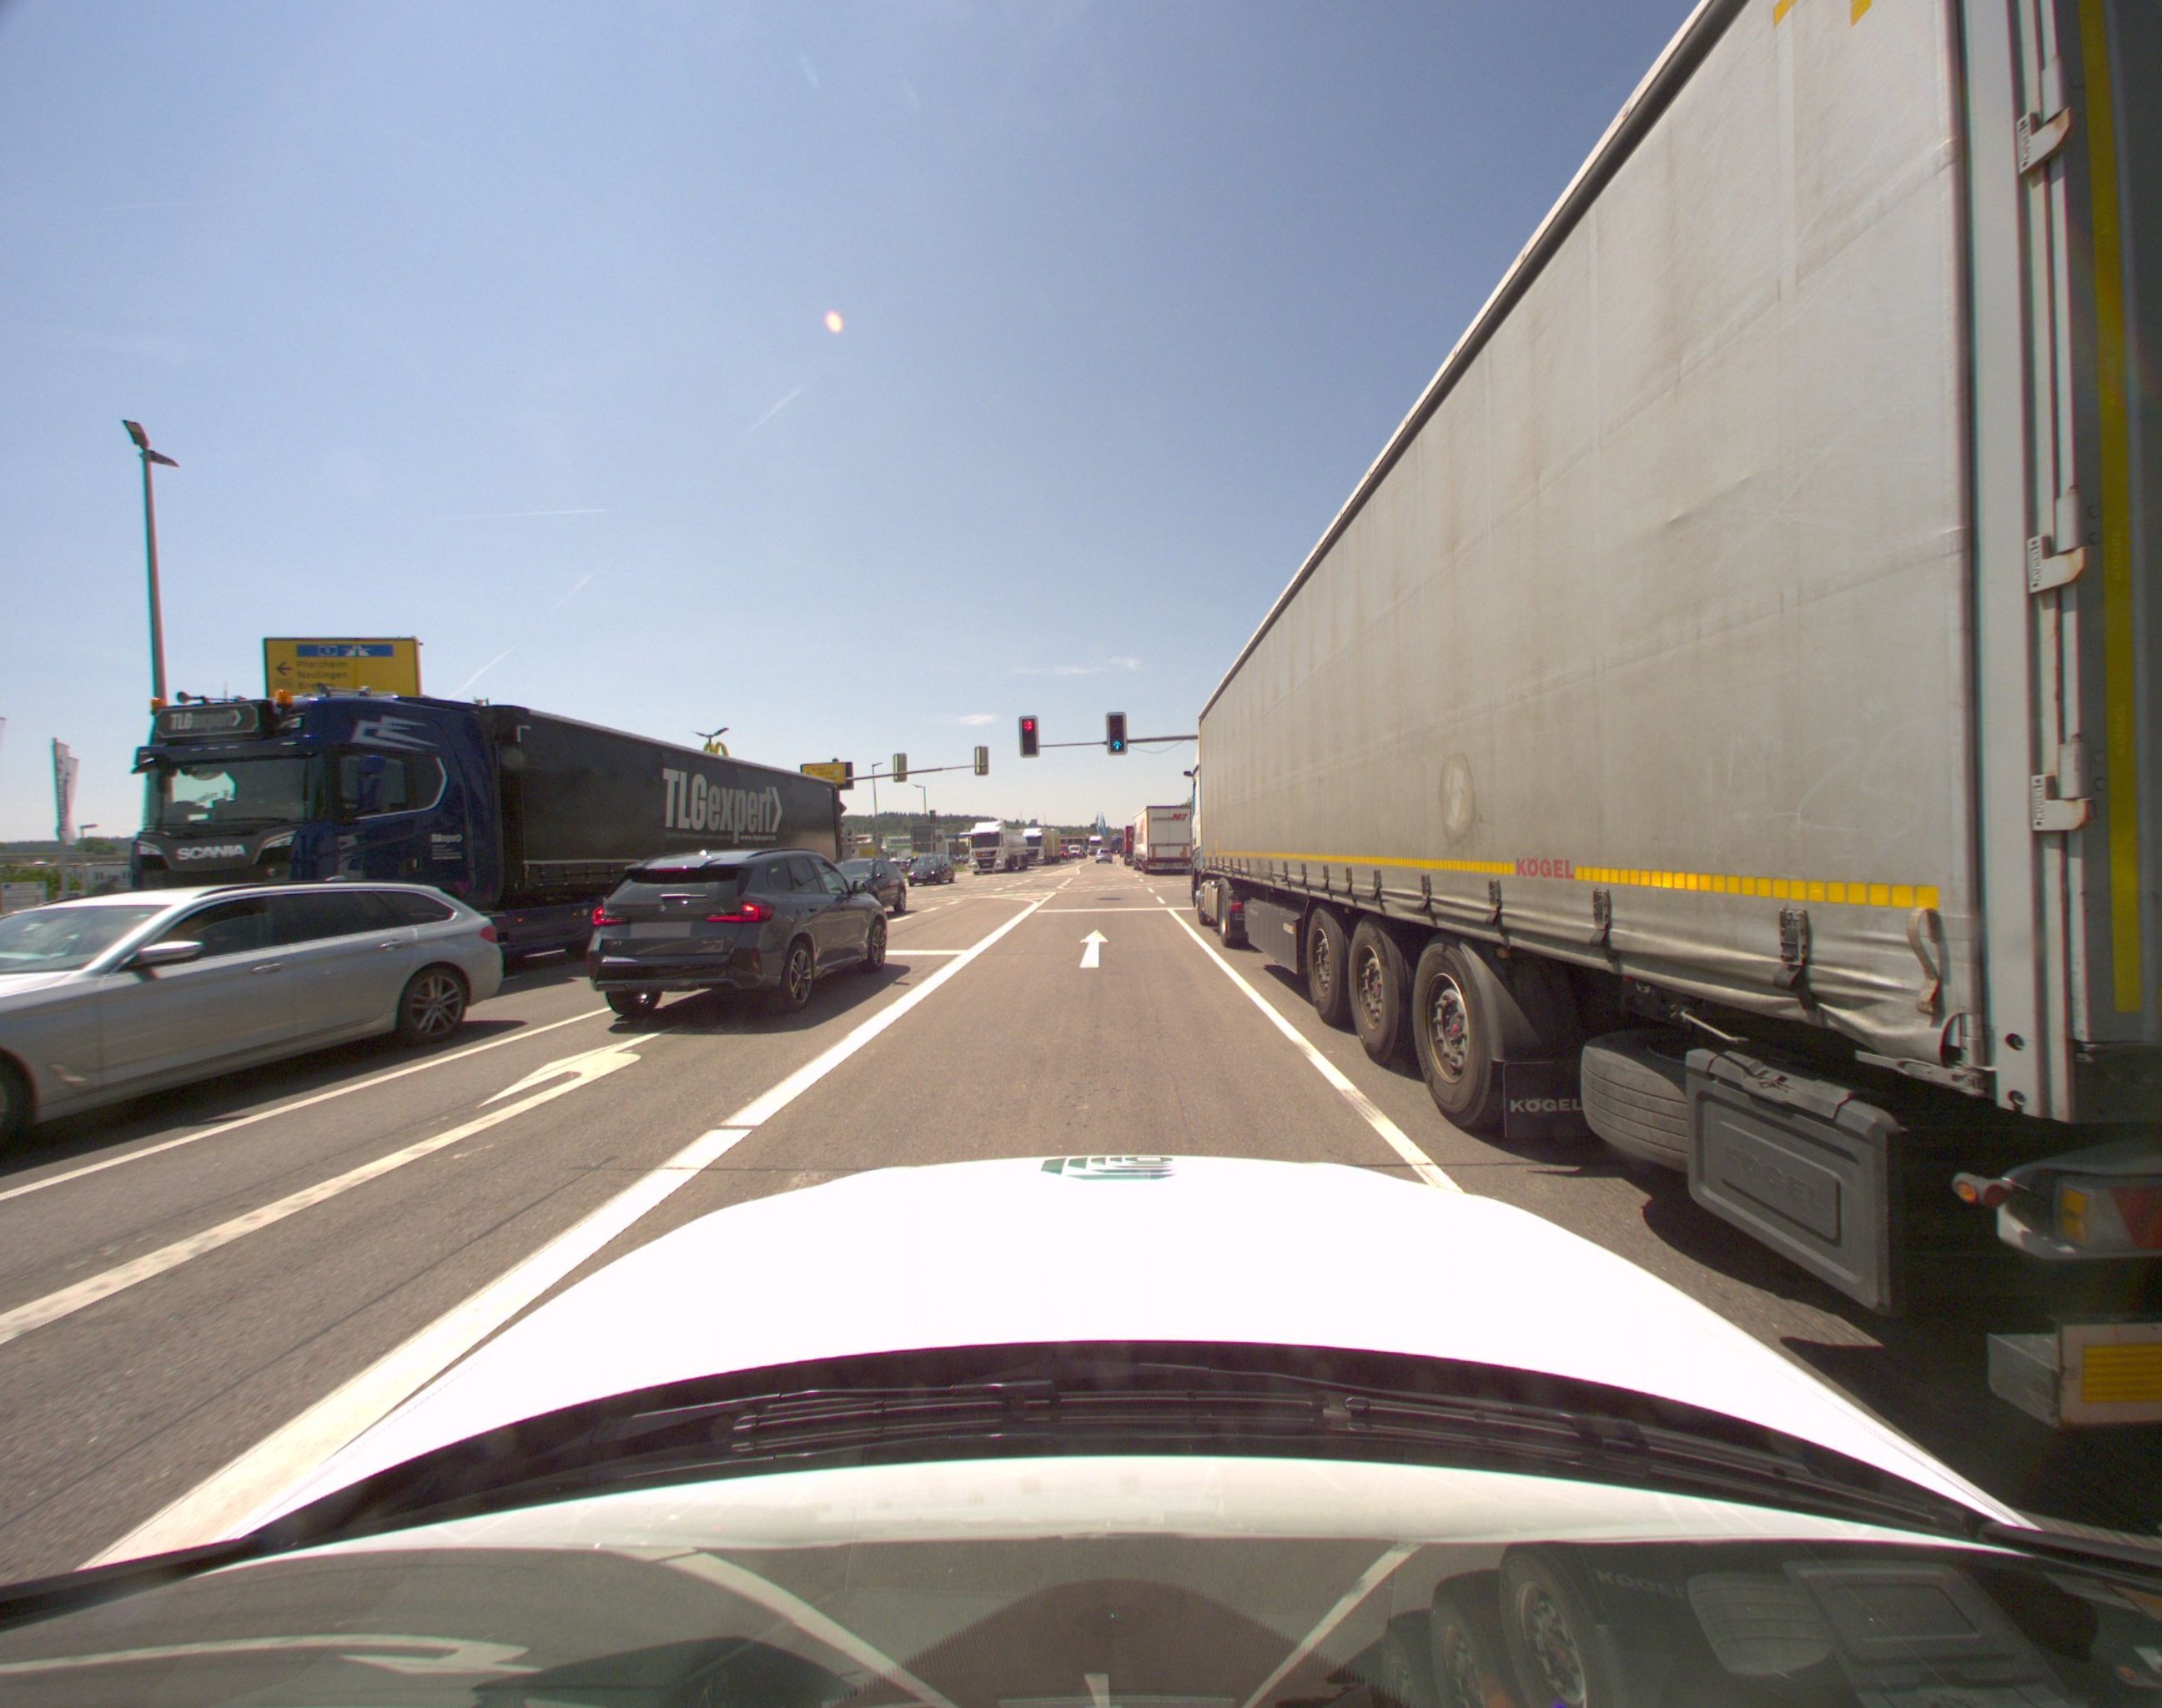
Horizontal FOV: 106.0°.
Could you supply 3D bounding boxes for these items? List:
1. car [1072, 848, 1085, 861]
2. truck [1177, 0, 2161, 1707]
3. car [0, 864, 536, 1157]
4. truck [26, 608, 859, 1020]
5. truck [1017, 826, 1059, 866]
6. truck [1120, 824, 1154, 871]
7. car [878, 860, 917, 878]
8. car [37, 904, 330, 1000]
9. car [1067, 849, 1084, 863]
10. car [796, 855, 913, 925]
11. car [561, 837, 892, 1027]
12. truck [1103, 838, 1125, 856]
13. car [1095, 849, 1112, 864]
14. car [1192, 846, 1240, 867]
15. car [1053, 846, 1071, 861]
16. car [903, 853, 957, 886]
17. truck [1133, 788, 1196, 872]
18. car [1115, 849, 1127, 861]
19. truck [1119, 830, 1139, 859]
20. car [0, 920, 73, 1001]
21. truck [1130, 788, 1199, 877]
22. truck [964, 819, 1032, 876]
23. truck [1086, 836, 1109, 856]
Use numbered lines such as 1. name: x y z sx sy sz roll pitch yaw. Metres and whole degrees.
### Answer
1. car: -0.401 0.057 137.248 1.896 2.014 4.005 -1 -1 5
2. truck: 3.318 -0.581 9.817 2.745 4.639 16.659 -1 -1 2
3. car: -6.643 0.914 5.902 1.803 1.508 4.950 -3 0 3
4. truck: -9.428 -0.476 17.681 3.132 4.349 17.559 -3 0 4
5. truck: -4.677 -0.883 92.109 2.922 3.949 13.878 -3 0 4
6. truck: 5.798 -0.472 86.716 2.864 4.479 16.659 -1 -1 2
7. car: -19.366 1.595 86.049 1.768 1.658 3.611 -3 0 44
8. car: -18.986 1.984 17.473 1.767 1.480 4.039 -3 0 42
9. car: -0.854 0.275 128.895 2.192 2.013 4.763 -3 0 5
10. car: -5.662 0.834 20.866 1.657 1.508 3.908 -3 0 3
11. car: -3.600 0.679 9.288 1.787 1.627 4.370 -1 0 1
12. truck: 8.003 -1.615 194.523 3.250 3.949 13.905 -3 0 10
13. car: 2.657 0.251 95.375 1.797 1.670 4.296 -1 0 4
14. car: 12.765 0.222 77.122 3.983 1.794 1.996 -2 0 -7
15. car: -2.653 -0.008 113.716 1.984 2.014 4.005 -1 -1 5
16. car: -8.076 0.806 43.908 1.818 1.583 4.249 -4 0 3
17. truck: 5.183 -1.175 53.681 2.864 4.639 16.659 -1 -1 2
18. car: 7.438 0.175 150.488 1.984 2.013 4.006 -2 0 5
19. truck: 6.733 -1.223 115.107 2.598 3.717 9.453 -1 -1 2
20. car: -24.233 2.377 16.779 1.727 1.601 4.224 -3 0 41
21. truck: 5.154 -1.241 53.181 2.924 4.837 14.873 -3 0 1
22. truck: -6.477 -0.512 66.582 2.921 3.949 14.252 -3 0 4
23. truck: 3.634 -1.569 171.582 3.253 3.950 13.892 -1 -1 7
